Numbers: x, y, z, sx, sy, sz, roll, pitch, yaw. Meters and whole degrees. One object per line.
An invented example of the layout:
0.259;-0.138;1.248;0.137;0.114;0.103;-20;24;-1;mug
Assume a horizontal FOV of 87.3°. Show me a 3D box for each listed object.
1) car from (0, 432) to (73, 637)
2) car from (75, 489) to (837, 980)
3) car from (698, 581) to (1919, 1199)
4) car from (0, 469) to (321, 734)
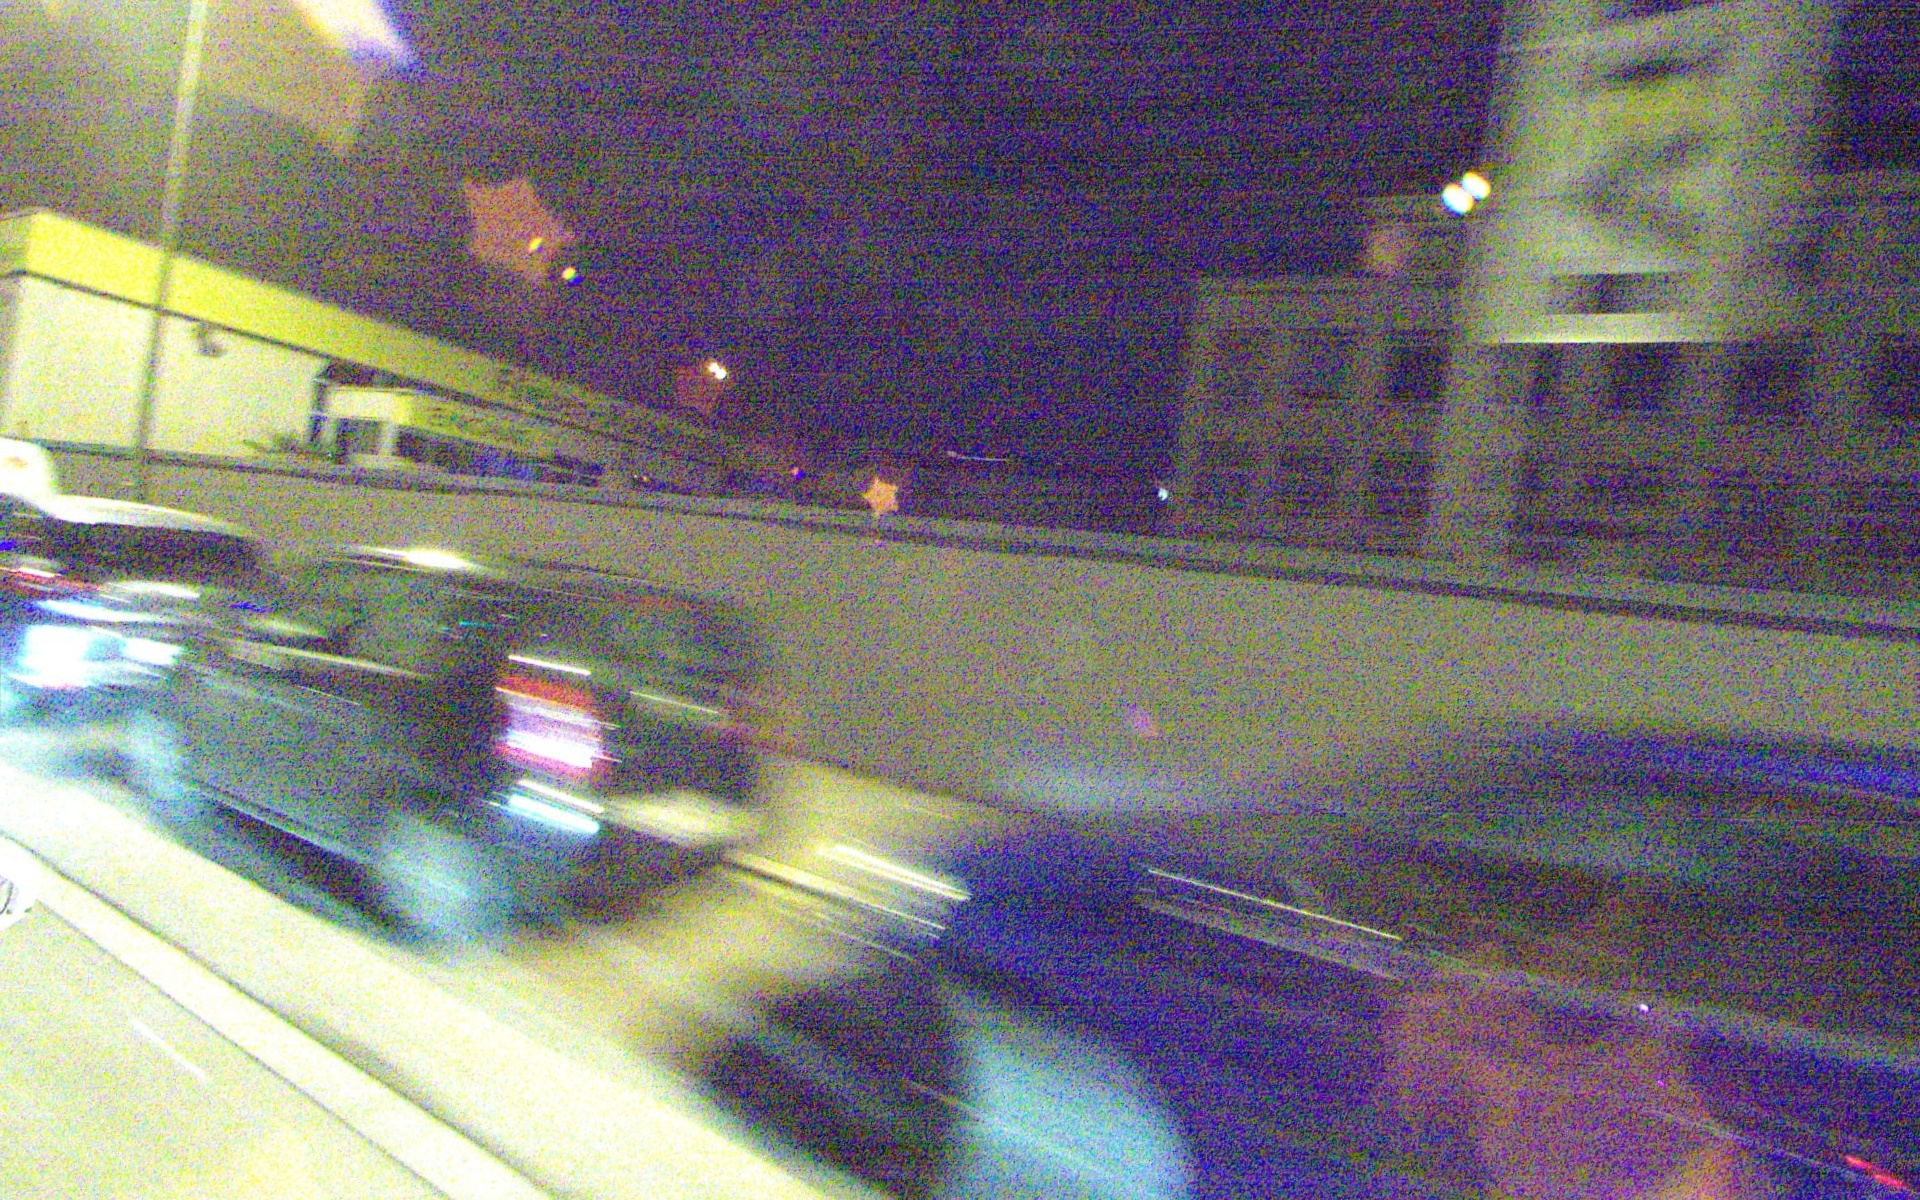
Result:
-11.145;-0.903;10.138;4.692;1.899;1.802;8;2;30;car
-2.615;0.412;5.000;3.657;1.484;1.597;7;-1;32;car
1.434;0.942;2.586;3.826;1.443;1.782;7;-1;31;car
-6.556;-0.108;7.330;3.827;1.484;1.597;7;-1;32;car
